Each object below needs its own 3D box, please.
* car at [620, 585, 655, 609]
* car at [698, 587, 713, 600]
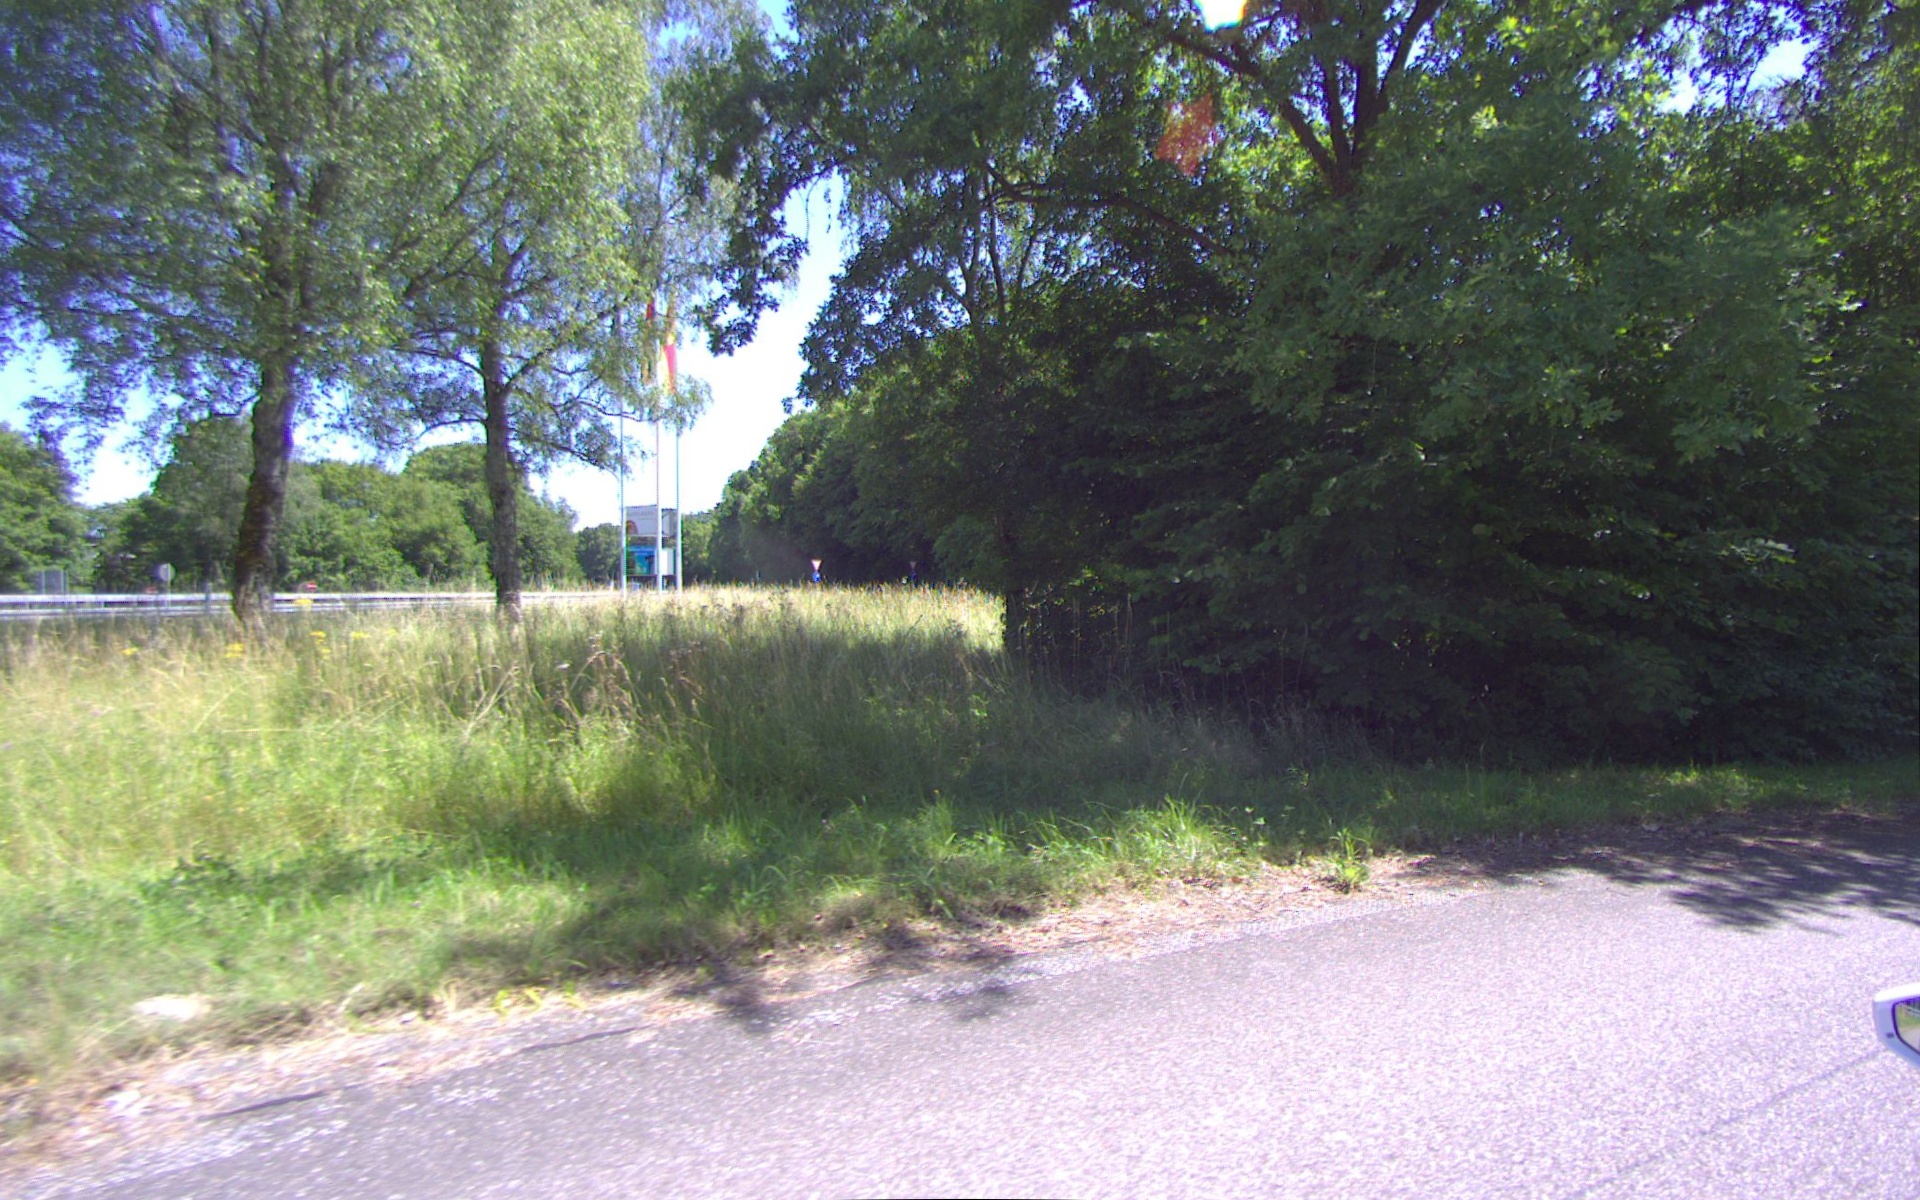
[{"bbox_3d":[-22.507,-0.195,70.214,1.489,1.521,3.587,-2,0,-4],"label":"car"},{"bbox_3d":[-29.563,-0.766,116.808,1.504,1.331,3.406,-2,0,-13],"label":"car"}]
